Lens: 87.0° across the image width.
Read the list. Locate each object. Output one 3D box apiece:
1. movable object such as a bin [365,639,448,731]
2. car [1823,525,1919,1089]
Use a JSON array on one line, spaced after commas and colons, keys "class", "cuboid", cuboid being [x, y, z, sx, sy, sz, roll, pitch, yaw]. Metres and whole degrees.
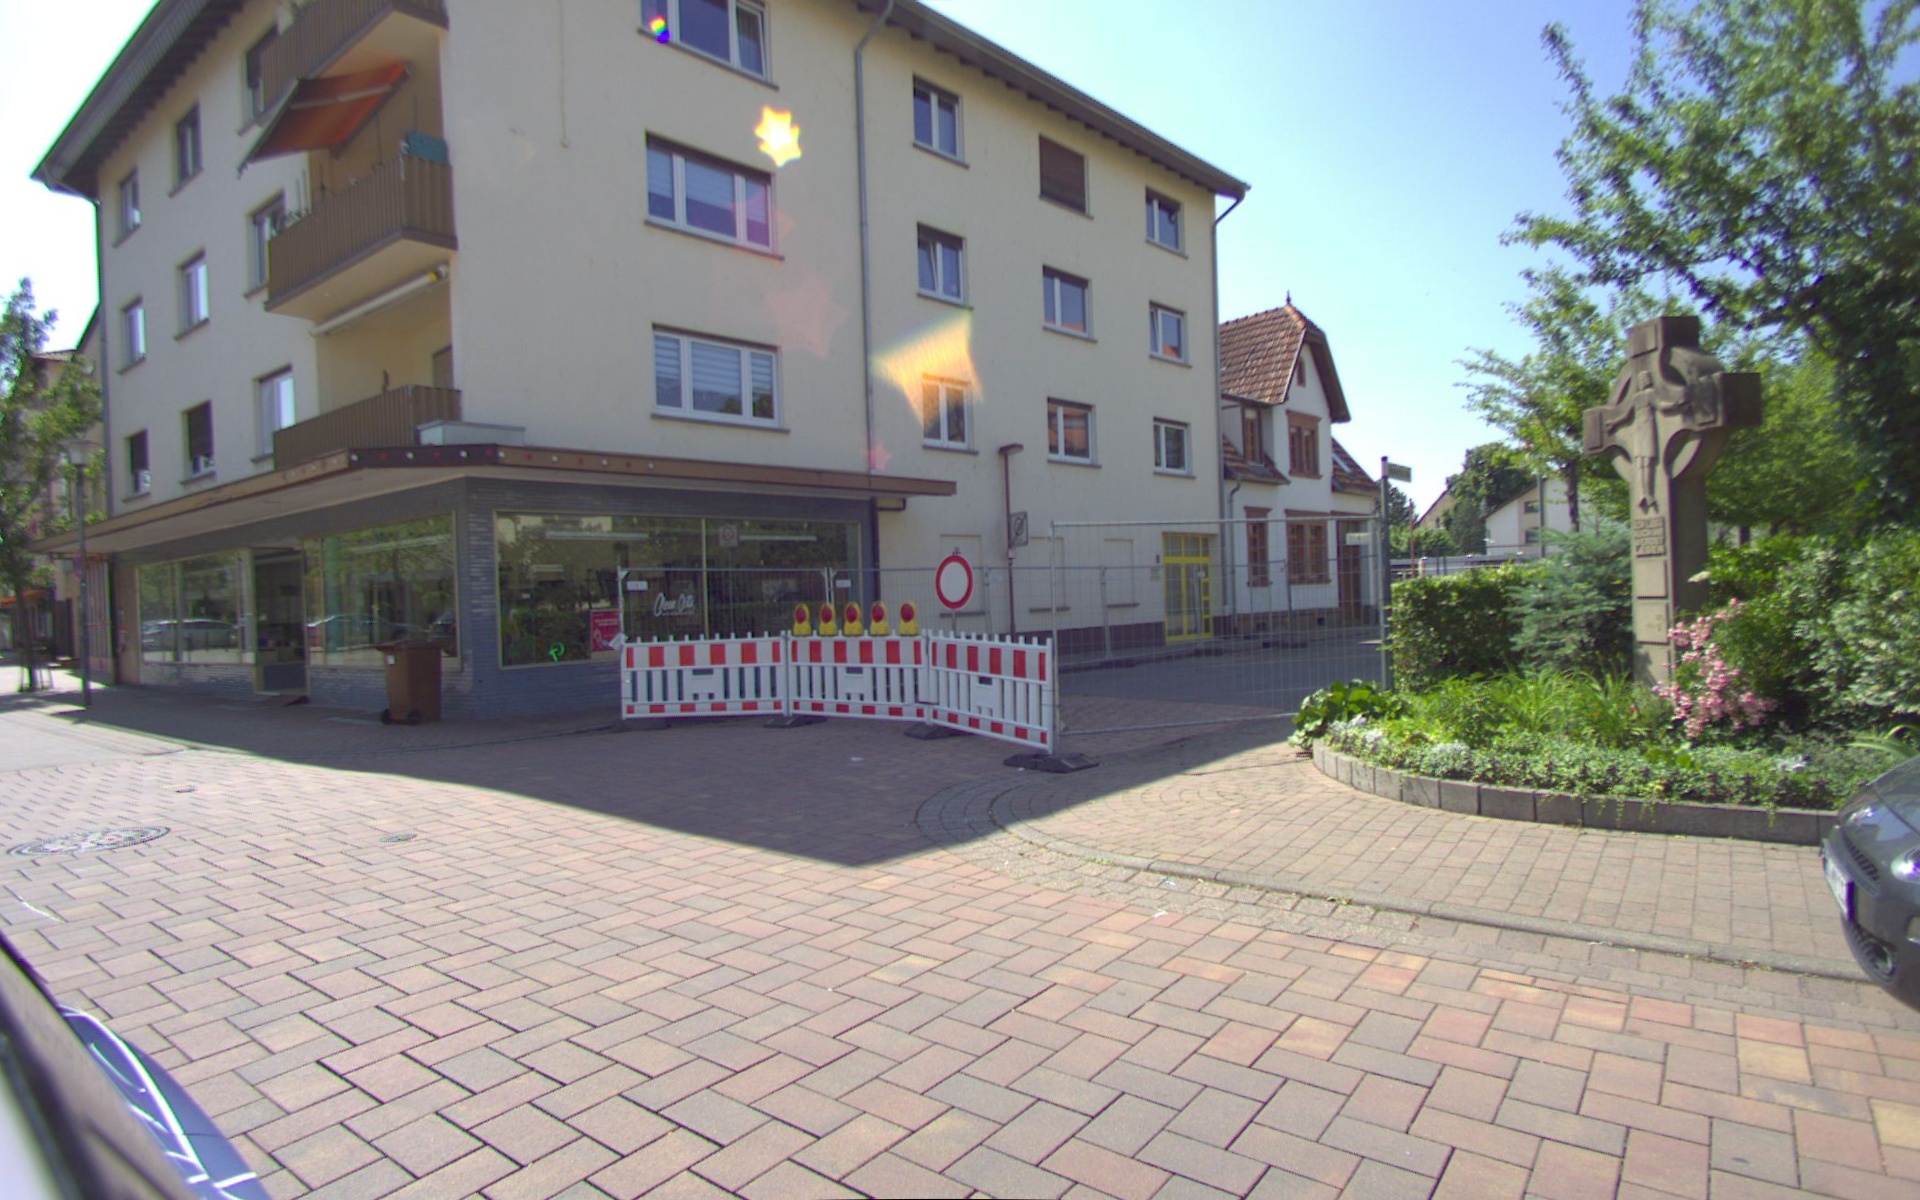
[{"class": "movable object such as a bin", "cuboid": [-6.998, 1.055, 12.804, 0.661, 1.078, 0.650, -2, 1, 32]}, {"class": "car", "cuboid": [4.362, 0.490, 1.975, 3.847, 1.508, 1.688, -2, 0, 34]}]
